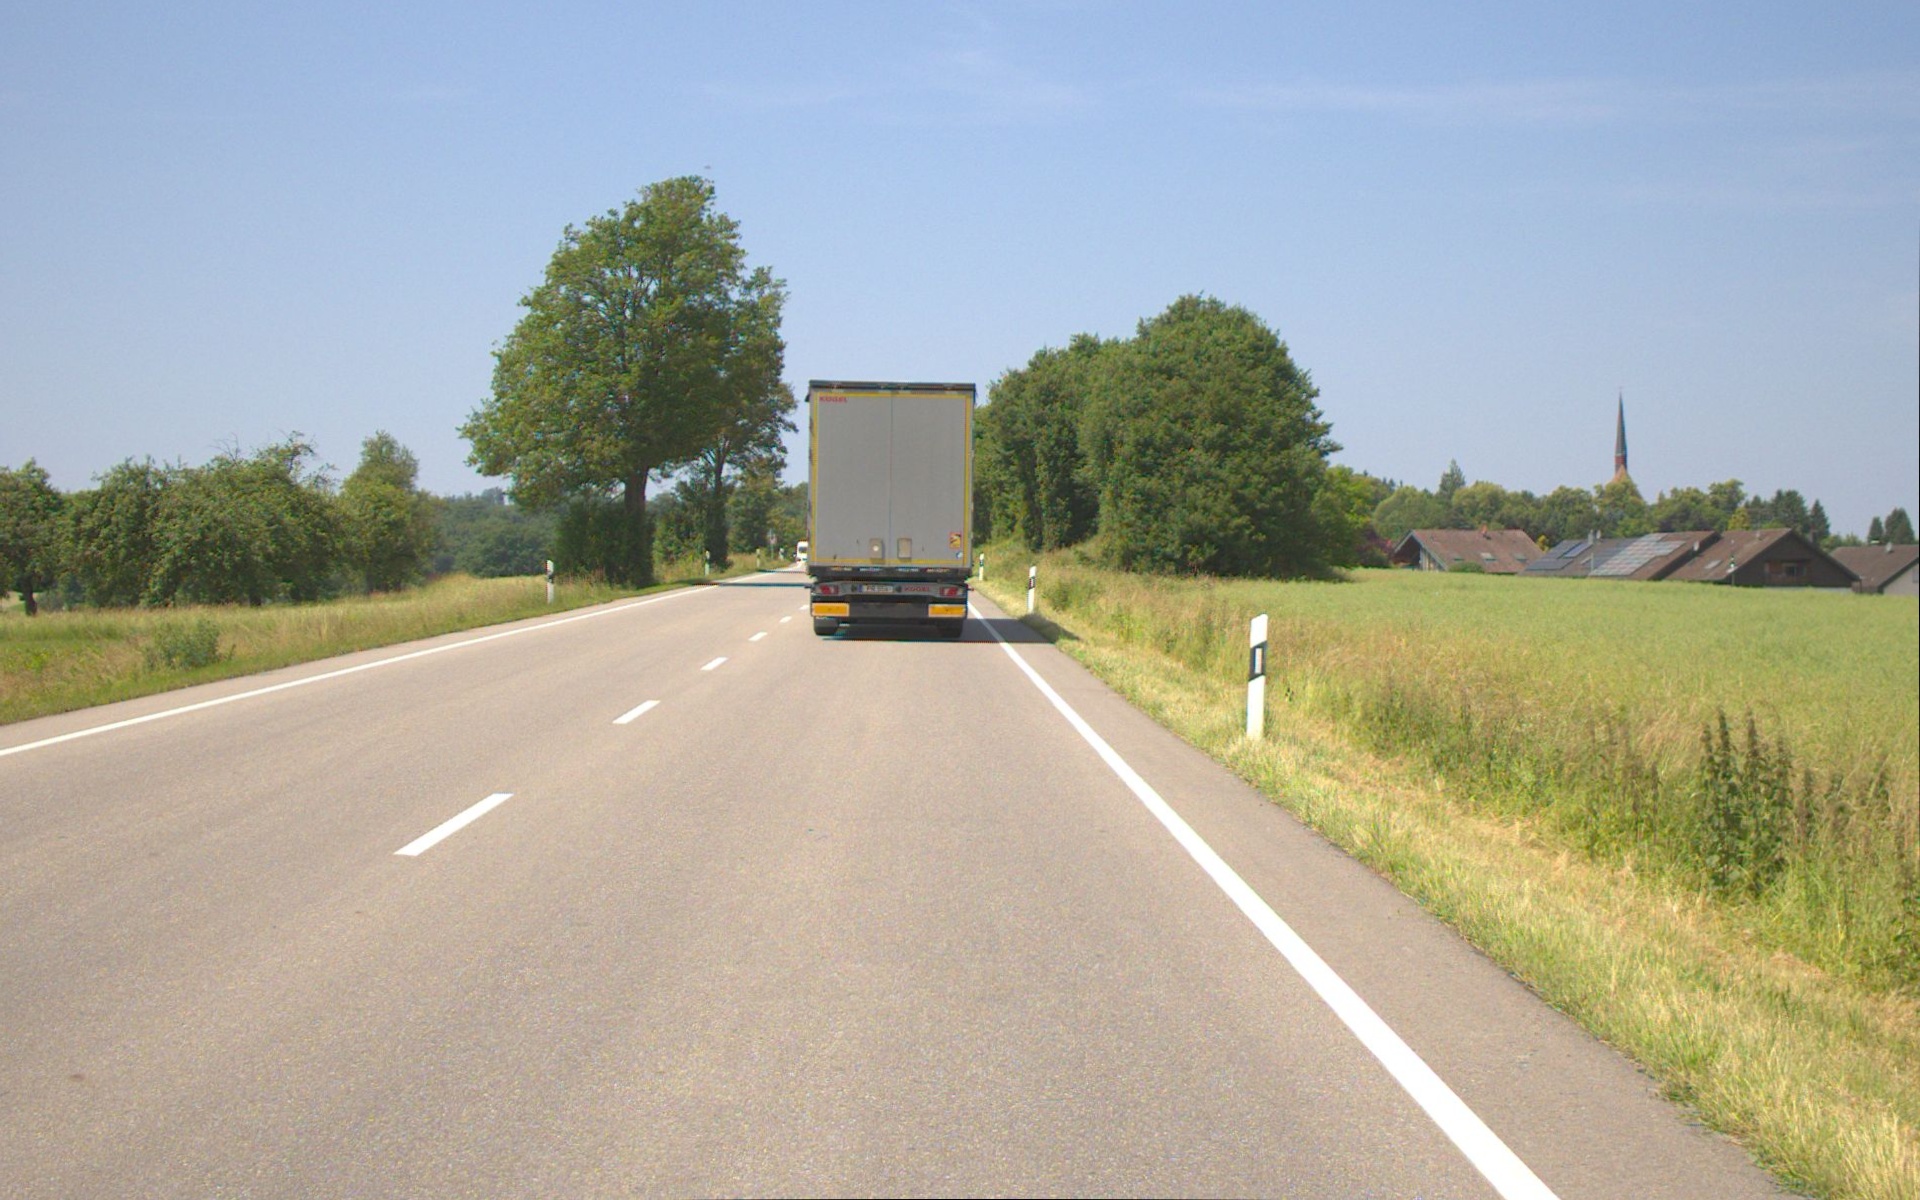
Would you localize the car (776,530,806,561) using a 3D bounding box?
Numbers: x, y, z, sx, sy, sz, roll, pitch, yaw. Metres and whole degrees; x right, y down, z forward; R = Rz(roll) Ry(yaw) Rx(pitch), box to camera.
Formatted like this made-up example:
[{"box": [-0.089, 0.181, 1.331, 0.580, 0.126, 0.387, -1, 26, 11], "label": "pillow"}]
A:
[{"box": [-11.073, -3.587, 225.155, 1.873, 2.007, 4.075, 0, 1, -2], "label": "car"}]

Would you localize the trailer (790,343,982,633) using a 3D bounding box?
[{"box": [-1.290, -1.838, 59.100, 2.867, 4.385, 13.494, 1, 1, -1], "label": "trailer"}]
